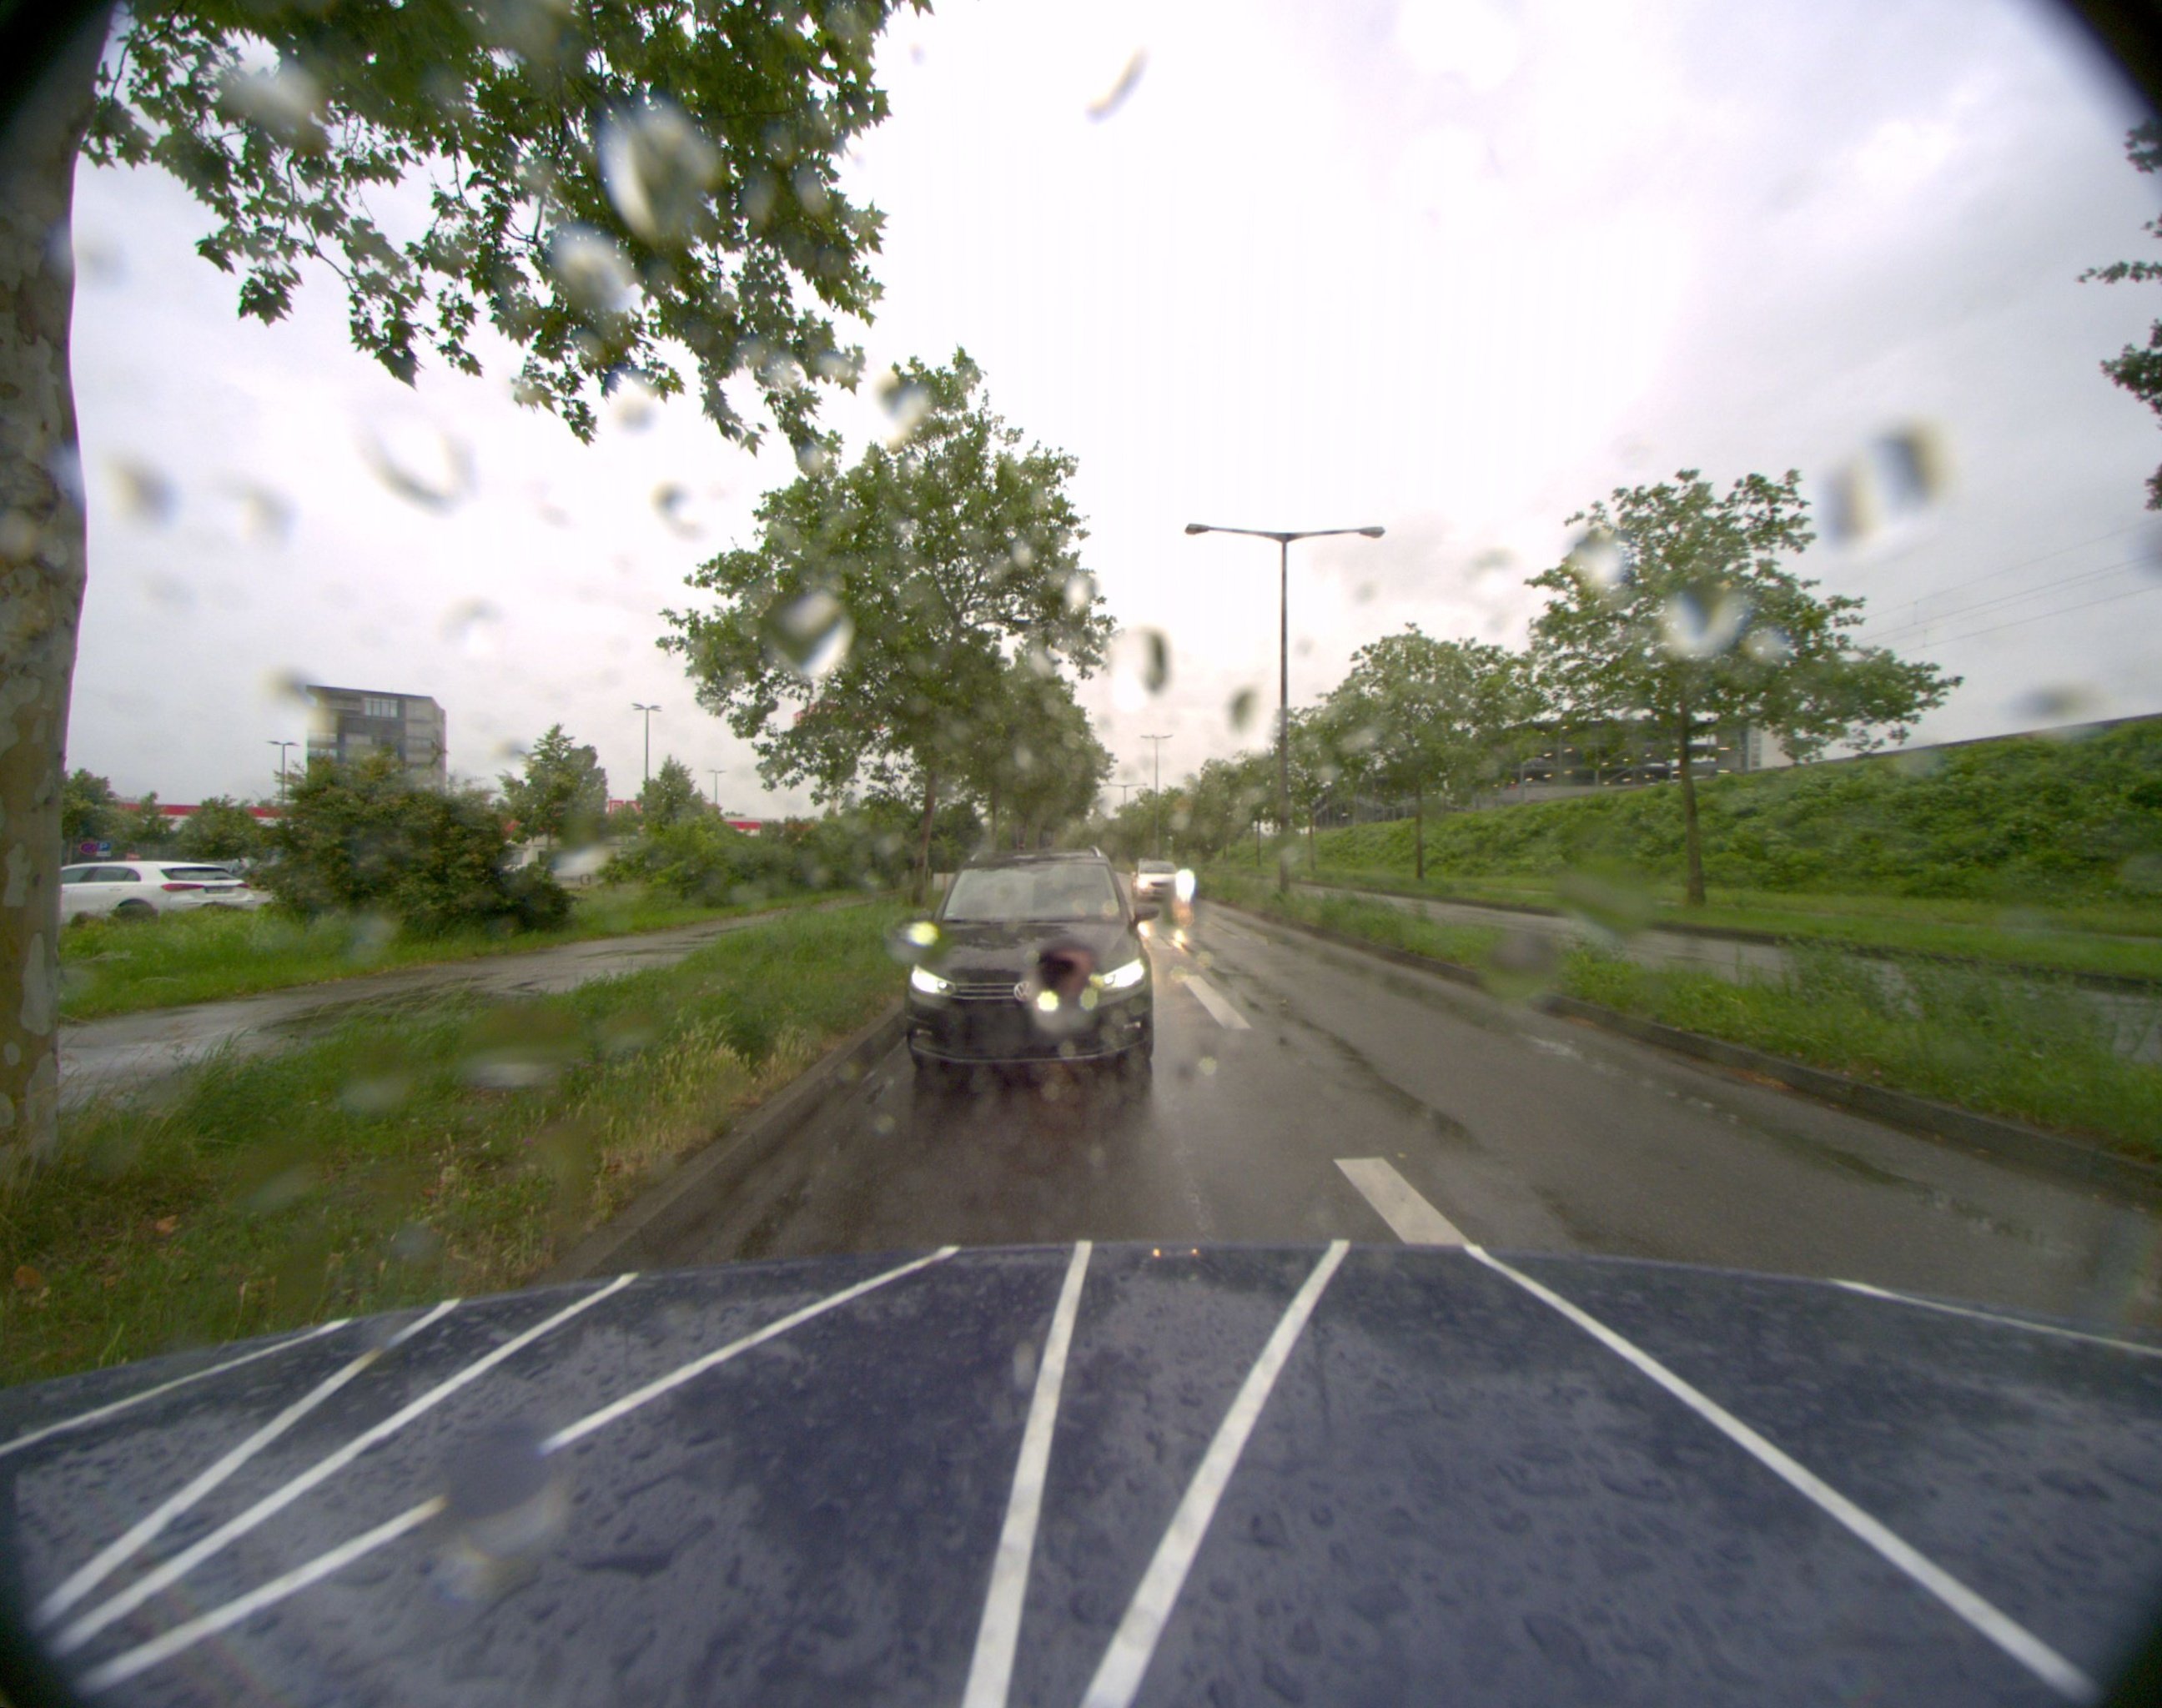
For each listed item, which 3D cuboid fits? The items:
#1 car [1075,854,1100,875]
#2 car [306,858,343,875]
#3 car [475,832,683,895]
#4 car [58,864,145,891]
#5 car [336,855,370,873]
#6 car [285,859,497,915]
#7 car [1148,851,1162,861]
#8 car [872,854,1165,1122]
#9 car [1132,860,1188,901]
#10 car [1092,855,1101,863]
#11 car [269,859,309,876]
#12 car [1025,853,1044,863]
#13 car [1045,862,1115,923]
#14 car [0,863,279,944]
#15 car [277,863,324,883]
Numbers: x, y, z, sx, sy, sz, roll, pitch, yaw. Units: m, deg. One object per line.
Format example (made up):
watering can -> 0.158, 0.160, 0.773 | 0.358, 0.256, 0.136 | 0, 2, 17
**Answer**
car -> 0.528, 0.755, 56.773 | 1.724, 1.456, 4.092 | -2, 0, 1
car -> -78.466, 1.237, 78.865 | 2.006, 1.667, 4.262 | 0, 0, -35
car -> -19.661, 0.362, 30.082 | 6.425, 2.349, 2.390 | 0, 0, -8
car -> -61.959, 1.439, 48.163 | 1.933, 1.543, 4.263 | 0, 0, -30
car -> -68.724, 0.901, 71.765 | 2.007, 1.667, 4.261 | 0, 0, -39
car -> -19.941, 0.925, 22.132 | 4.272, 1.543, 1.929 | 0, 0, -4
car -> 11.218, 0.297, 114.667 | 1.724, 1.456, 4.092 | 0, 0, 0
car -> -0.432, 0.836, 7.071 | 1.771, 1.596, 4.626 | -2, 0, -1
car -> 2.875, 0.936, 28.469 | 1.683, 1.368, 4.011 | -2, 0, 1
car -> 3.123, 1.003, 150.709 | 1.724, 1.456, 4.092 | 0, 0, 0
car -> -80.577, 1.336, 77.333 | 2.006, 1.667, 4.262 | 0, 0, -35
car -> -9.393, 0.802, 151.898 | 2.002, 2.002, 5.121 | -3, 1, -25
car -> -0.027, 1.001, 21.280 | 1.724, 1.456, 4.092 | -2, 0, 0
car -> -19.788, 0.967, 15.662 | 4.272, 1.543, 1.929 | 0, 0, -4
car -> -67.280, 1.602, 65.603 | 2.006, 1.667, 4.262 | 0, 0, -34
